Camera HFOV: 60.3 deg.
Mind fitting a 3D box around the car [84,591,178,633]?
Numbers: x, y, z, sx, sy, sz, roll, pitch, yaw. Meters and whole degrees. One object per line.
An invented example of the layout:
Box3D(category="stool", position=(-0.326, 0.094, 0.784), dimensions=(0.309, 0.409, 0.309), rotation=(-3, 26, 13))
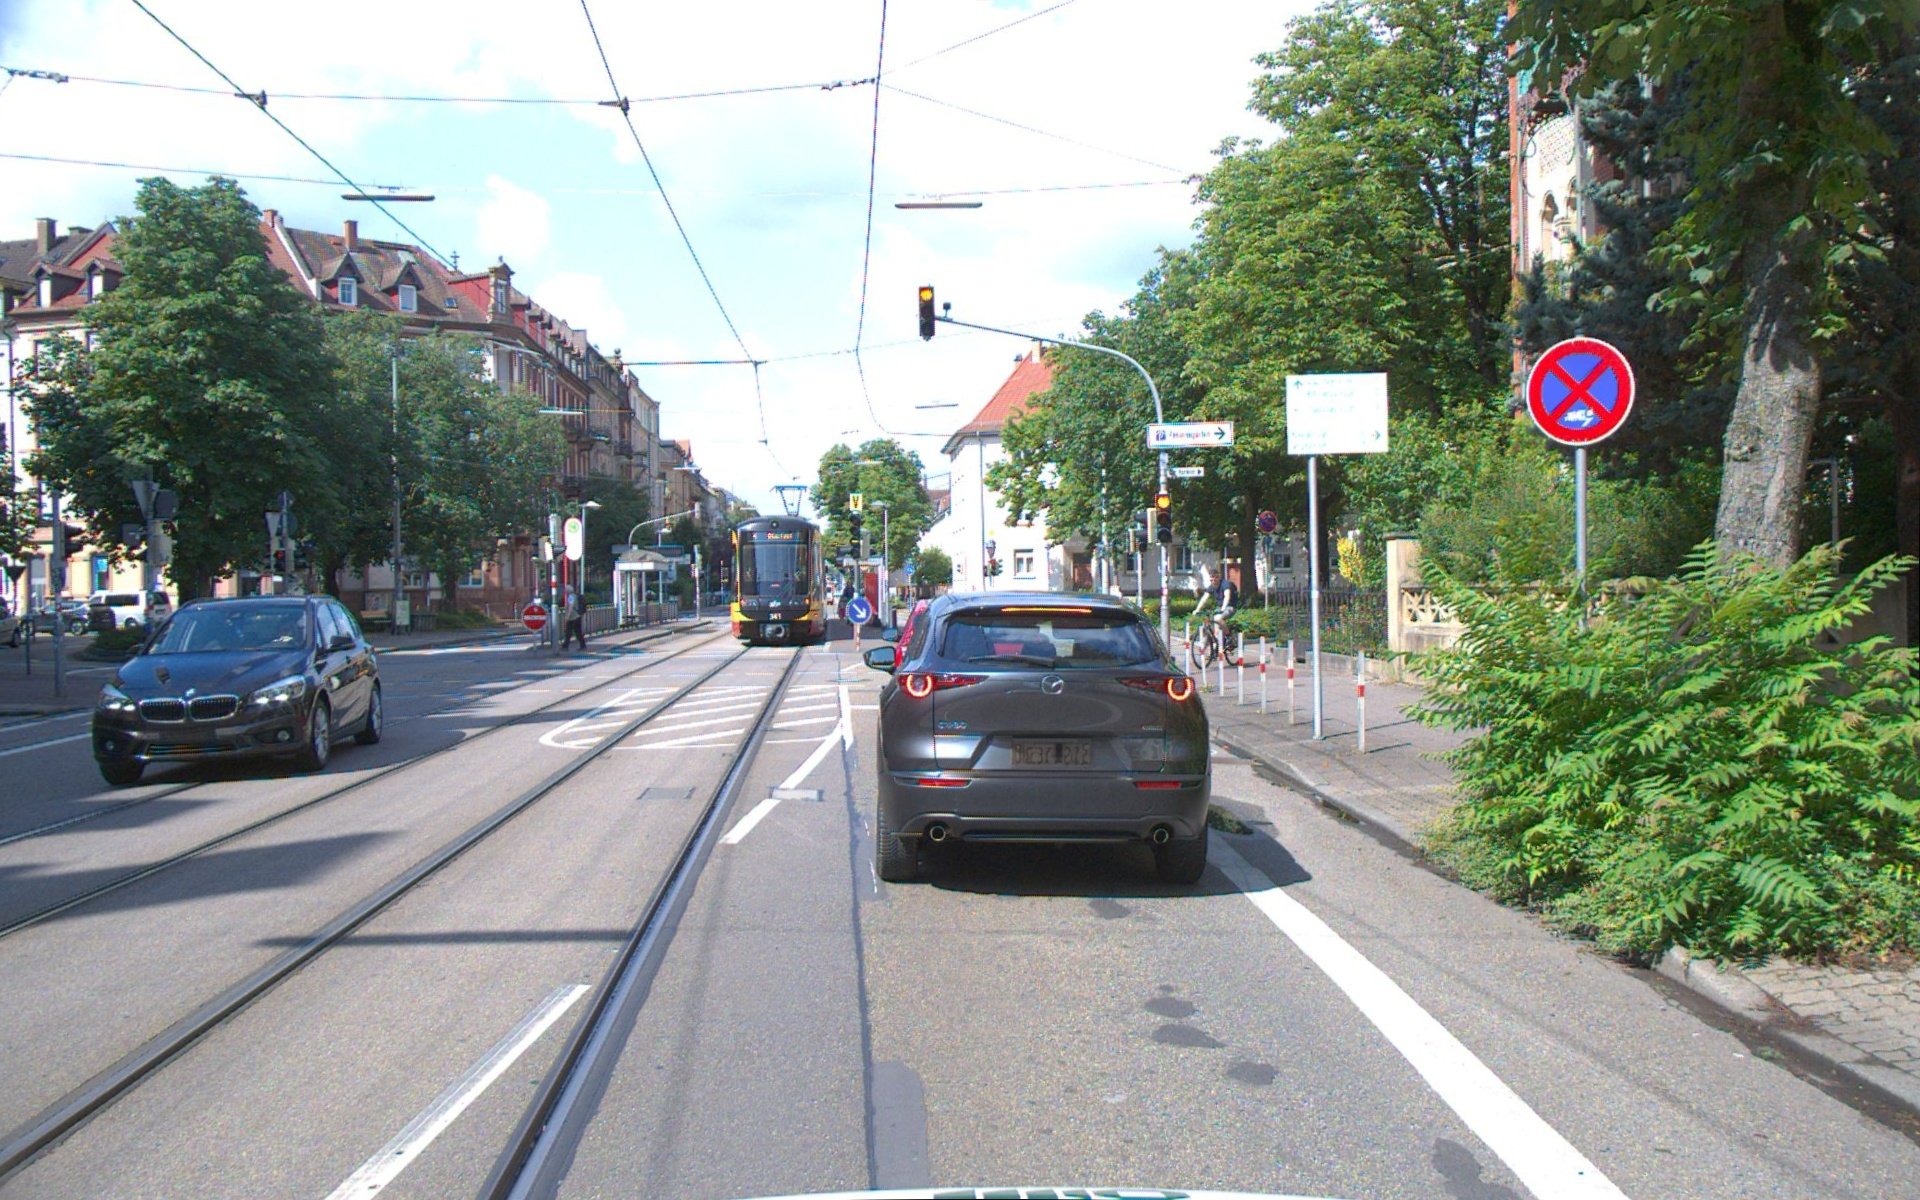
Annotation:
Box3D(category="car", position=(-39.638, 0.584, 79.091), dimensions=(3.906, 1.937, 1.999), rotation=(-1, 0, 23))

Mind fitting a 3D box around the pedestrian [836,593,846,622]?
Box3D(category="pedestrian", position=(-4.478, 0.290, 62.253), dimensions=(0.372, 1.089, 0.474), rotation=(-1, 0, -4))

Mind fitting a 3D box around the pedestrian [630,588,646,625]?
Box3D(category="pedestrian", position=(-12.516, 0.269, 64.262), dimensions=(0.420, 1.423, 0.397), rotation=(-1, 0, 30))

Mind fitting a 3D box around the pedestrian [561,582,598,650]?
Box3D(category="pedestrian", position=(-9.767, 0.406, 42.476), dimensions=(0.702, 1.735, 0.824), rotation=(-1, 0, 2))

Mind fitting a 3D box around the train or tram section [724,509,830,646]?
Box3D(category="train or tram section", position=(-5.377, -0.753, 50.483), dimensions=(2.699, 3.551, 14.395), rotation=(-1, 1, -5))

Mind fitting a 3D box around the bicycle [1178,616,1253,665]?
Box3D(category="bicycle", position=(4.690, 0.735, 30.283), dimensions=(0.486, 0.838, 1.688), rotation=(-1, 0, 42))

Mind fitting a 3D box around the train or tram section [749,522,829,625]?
Box3D(category="train or tram section", position=(-6.551, -1.094, 64.815), dimensions=(2.699, 3.551, 14.395), rotation=(-1, 1, -5))

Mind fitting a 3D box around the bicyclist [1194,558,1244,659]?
Box3D(category="bicyclist", position=(4.755, 0.158, 30.364), dimensions=(0.646, 1.824, 0.606), rotation=(-1, 0, 43))

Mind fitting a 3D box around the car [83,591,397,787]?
Box3D(category="car", position=(-6.518, 0.707, 15.446), dimensions=(1.724, 1.545, 4.059), rotation=(-1, 0, -10))

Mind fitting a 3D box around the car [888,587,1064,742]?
Box3D(category="car", position=(0.122, 0.636, 18.645), dimensions=(1.742, 1.526, 3.999), rotation=(1, 0, -1))

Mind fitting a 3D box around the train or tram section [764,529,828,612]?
Box3D(category="train or tram section", position=(-7.727, -1.436, 79.157), dimensions=(2.699, 3.551, 14.395), rotation=(-1, 1, -5))

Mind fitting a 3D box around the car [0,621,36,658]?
Box3D(category="car", position=(-33.197, 1.377, 55.918), dimensions=(1.639, 1.203, 4.000), rotation=(-1, 0, 0))

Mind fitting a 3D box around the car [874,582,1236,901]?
Box3D(category="car", position=(0.423, 0.676, 10.043), dimensions=(1.742, 1.526, 3.999), rotation=(1, 0, -1))

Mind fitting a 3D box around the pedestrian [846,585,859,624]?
Box3D(category="pedestrian", position=(-4.056, 0.178, 62.476), dimensions=(0.441, 1.459, 0.474), rotation=(-1, 0, -6))

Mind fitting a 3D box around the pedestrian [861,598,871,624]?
Box3D(category="pedestrian", position=(-3.579, 0.424, 63.058), dimensions=(0.372, 1.001, 0.474), rotation=(-1, 0, -6))
